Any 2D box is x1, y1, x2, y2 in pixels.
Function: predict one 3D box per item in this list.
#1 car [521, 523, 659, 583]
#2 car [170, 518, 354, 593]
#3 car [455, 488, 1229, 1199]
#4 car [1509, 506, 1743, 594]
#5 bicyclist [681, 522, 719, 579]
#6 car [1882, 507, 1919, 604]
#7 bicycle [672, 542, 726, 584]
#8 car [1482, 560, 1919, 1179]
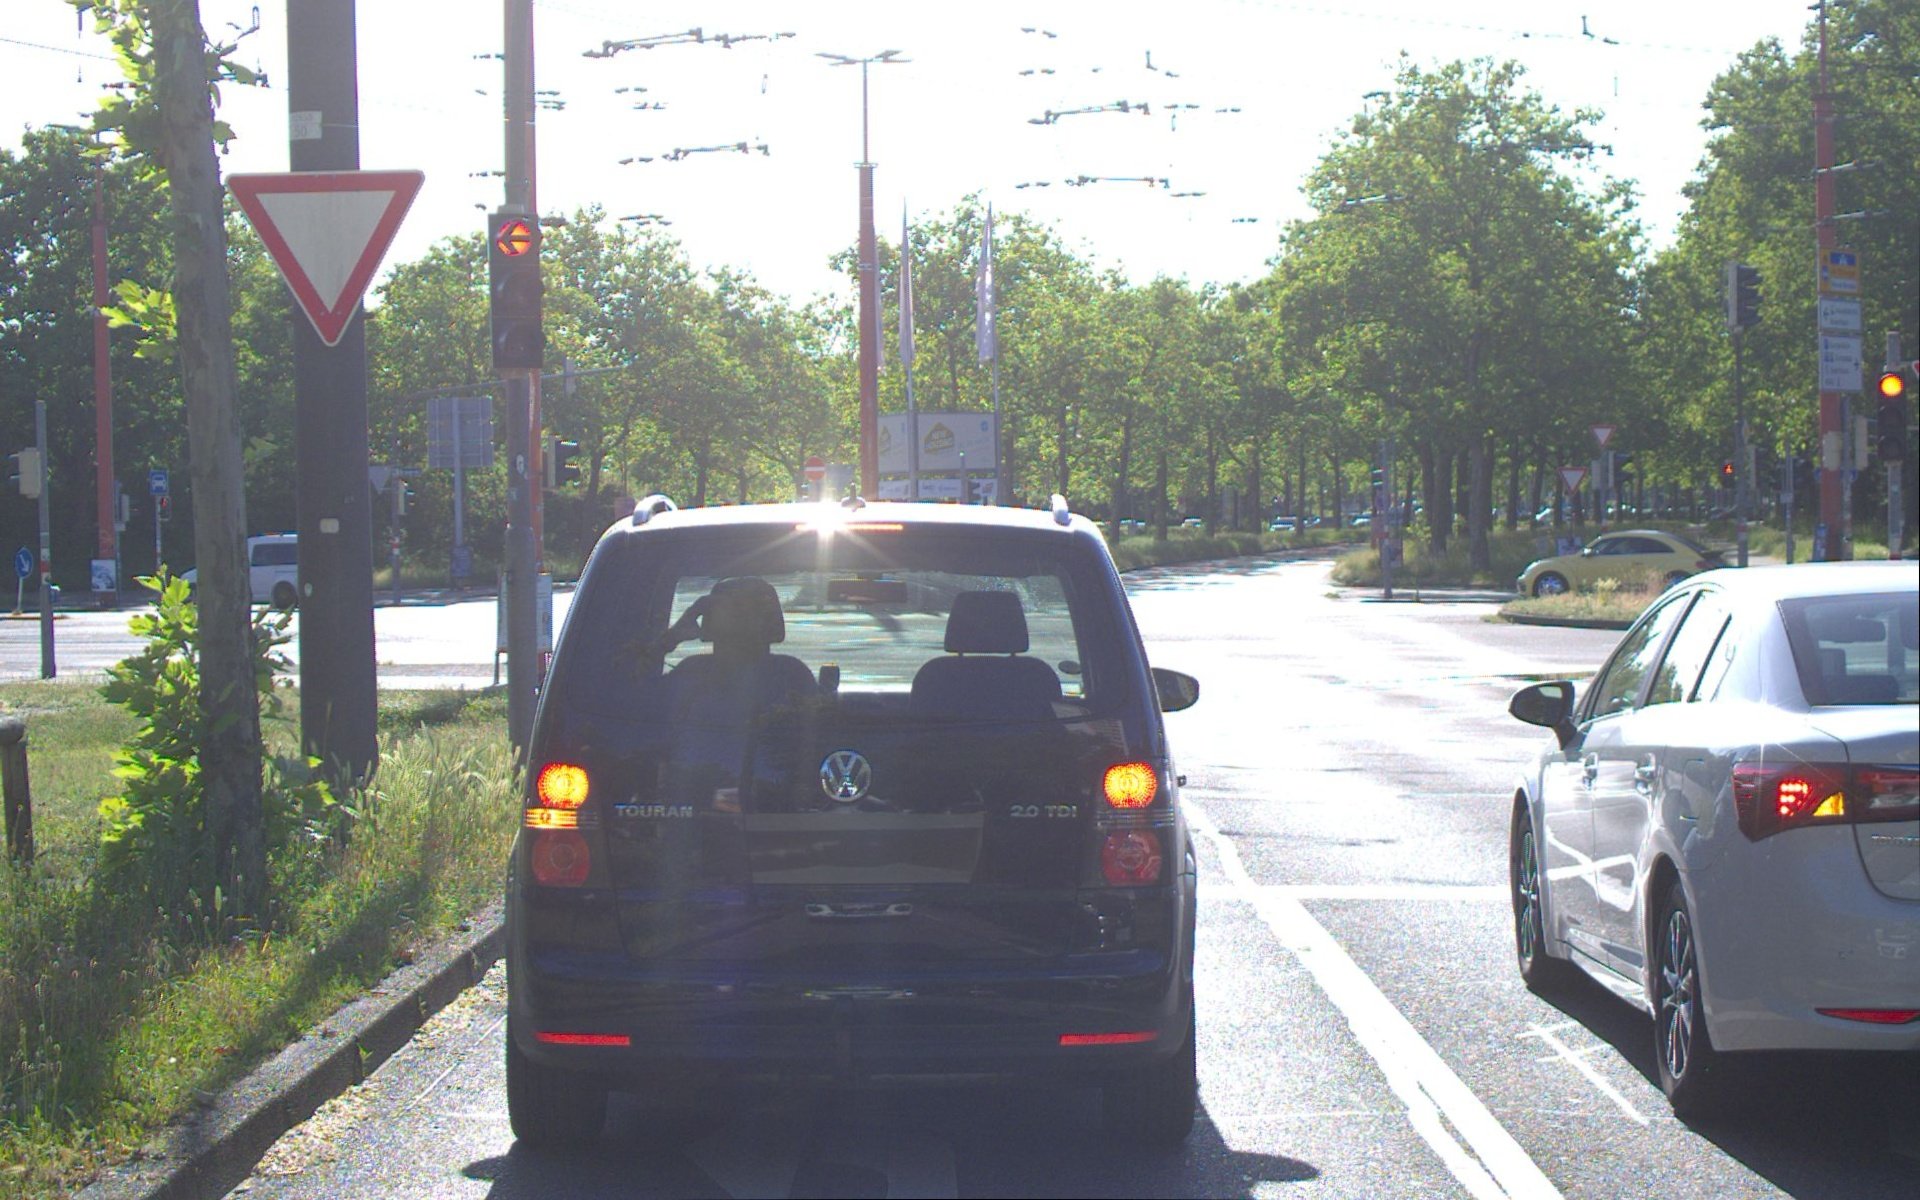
[{"bbox_3d":[-10.998,-1.420,102.410,1.655,1.744,4.123,1,1,39],"label":"car"},{"bbox_3d":[-16.705,-1.080,82.259,4.124,1.744,1.655,1,1,24],"label":"car"},{"bbox_3d":[-0.250,0.535,9.972,1.738,1.597,4.326,1,1,1],"label":"car"},{"bbox_3d":[13.047,-0.990,67.365,4.209,1.675,1.654,1,1,26],"label":"car"},{"bbox_3d":[-8.615,-1.637,113.878,0.977,1.897,1.050,0,1,12],"label":"bicyclist"},{"bbox_3d":[18.221,-0.765,59.443,4.208,1.675,1.655,1,1,23],"label":"car"},{"bbox_3d":[-8.621,-1.231,113.844,0.977,1.384,2.978,0,1,12],"label":"bicycle"},{"bbox_3d":[2.760,0.616,10.151,1.799,1.435,4.326,1,1,1],"label":"car"}]
